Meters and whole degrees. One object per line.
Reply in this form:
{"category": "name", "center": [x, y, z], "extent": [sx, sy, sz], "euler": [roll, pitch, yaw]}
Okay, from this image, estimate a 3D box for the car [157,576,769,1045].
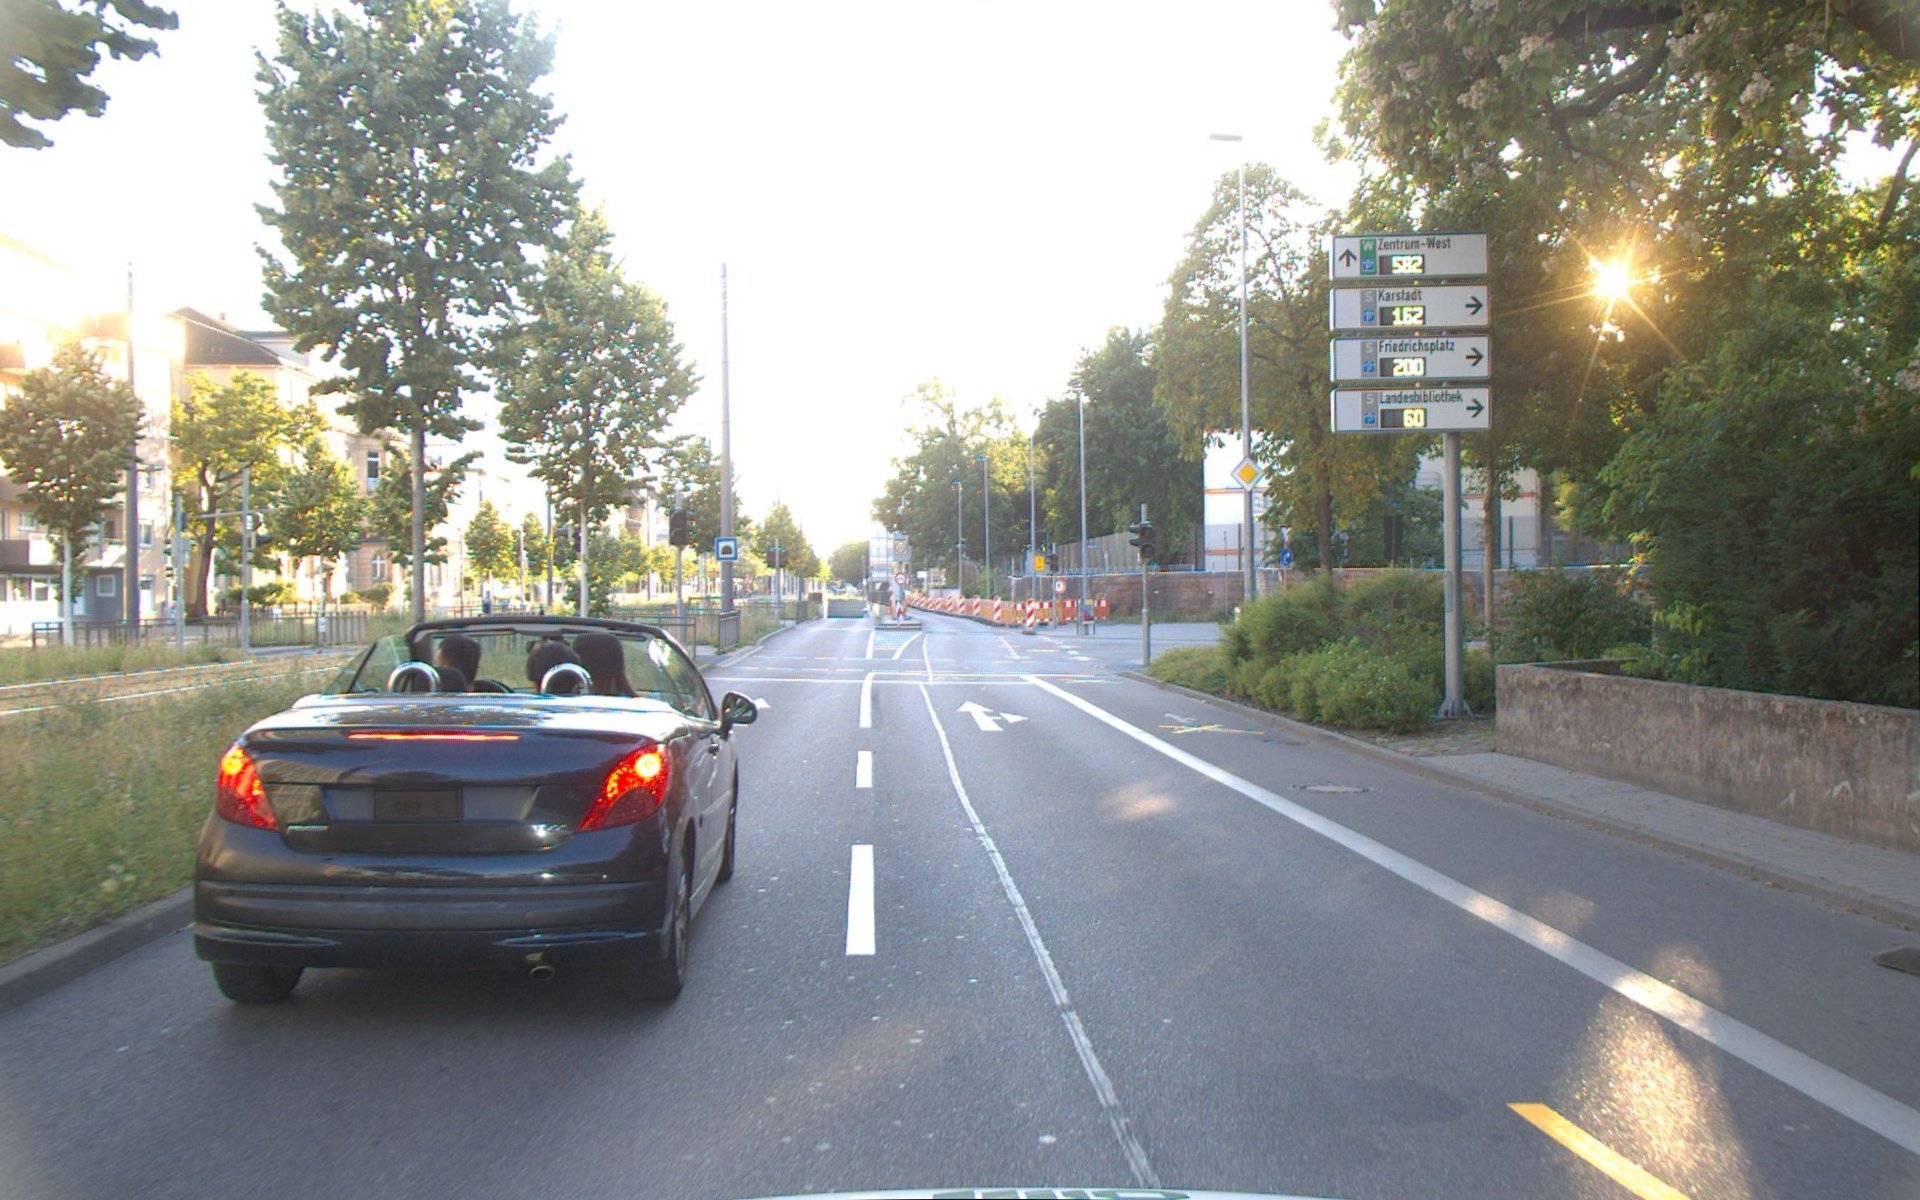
{"category": "car", "center": [-1.807, 0.648, 7.242], "extent": [1.684, 1.475, 3.899], "euler": [1, 1, -3]}
